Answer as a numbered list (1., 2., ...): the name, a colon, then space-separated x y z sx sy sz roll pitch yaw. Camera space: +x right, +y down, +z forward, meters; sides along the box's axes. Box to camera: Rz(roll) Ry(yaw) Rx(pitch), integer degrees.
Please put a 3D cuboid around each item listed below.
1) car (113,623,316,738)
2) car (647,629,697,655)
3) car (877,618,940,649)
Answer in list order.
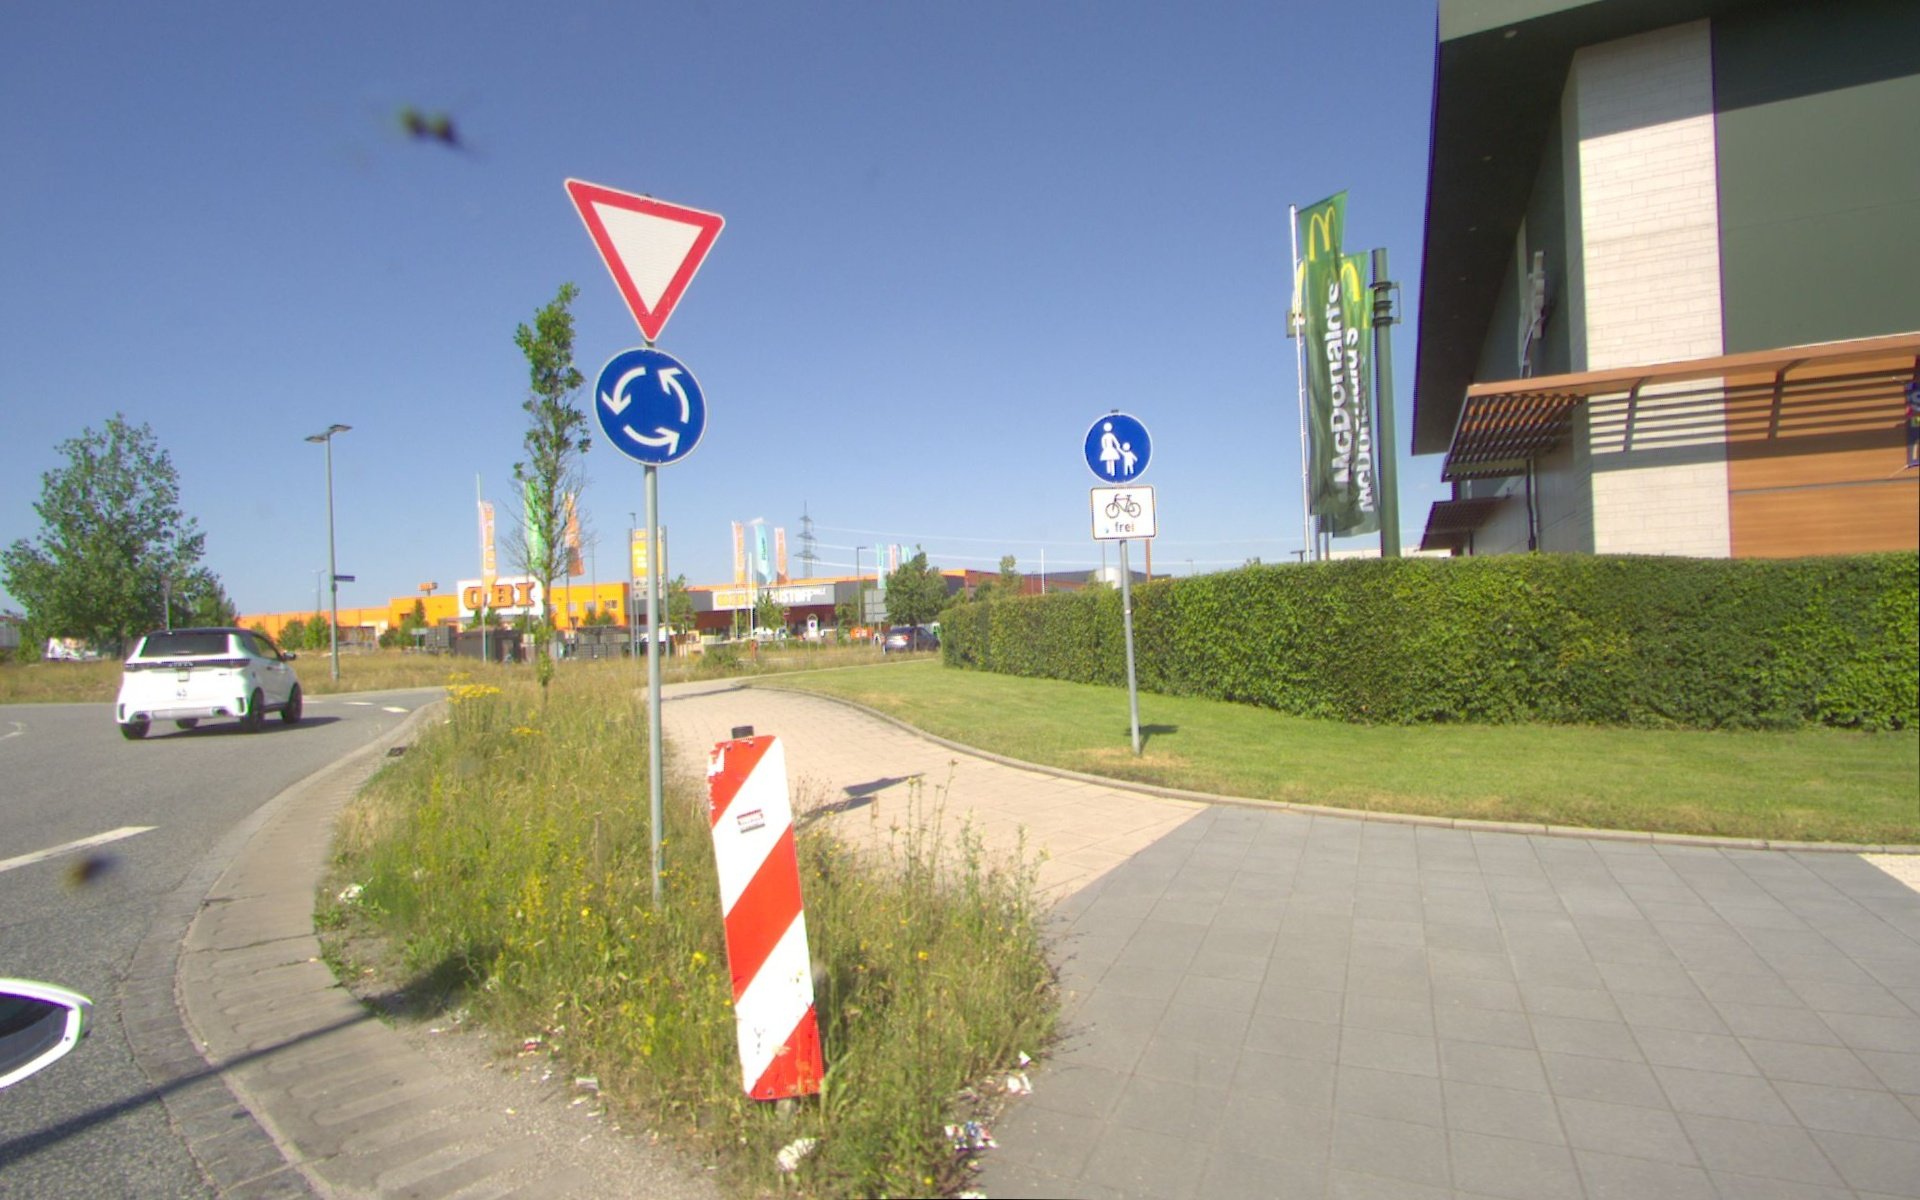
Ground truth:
1. car: -10.773 1.075 14.723 1.488 1.459 3.342 0 -1 -20
2. car: -21.194 3.131 73.884 1.671 1.863 3.769 -2 -3 19
3. car: -2.758 1.828 55.096 1.801 1.604 4.156 -2 -1 23
